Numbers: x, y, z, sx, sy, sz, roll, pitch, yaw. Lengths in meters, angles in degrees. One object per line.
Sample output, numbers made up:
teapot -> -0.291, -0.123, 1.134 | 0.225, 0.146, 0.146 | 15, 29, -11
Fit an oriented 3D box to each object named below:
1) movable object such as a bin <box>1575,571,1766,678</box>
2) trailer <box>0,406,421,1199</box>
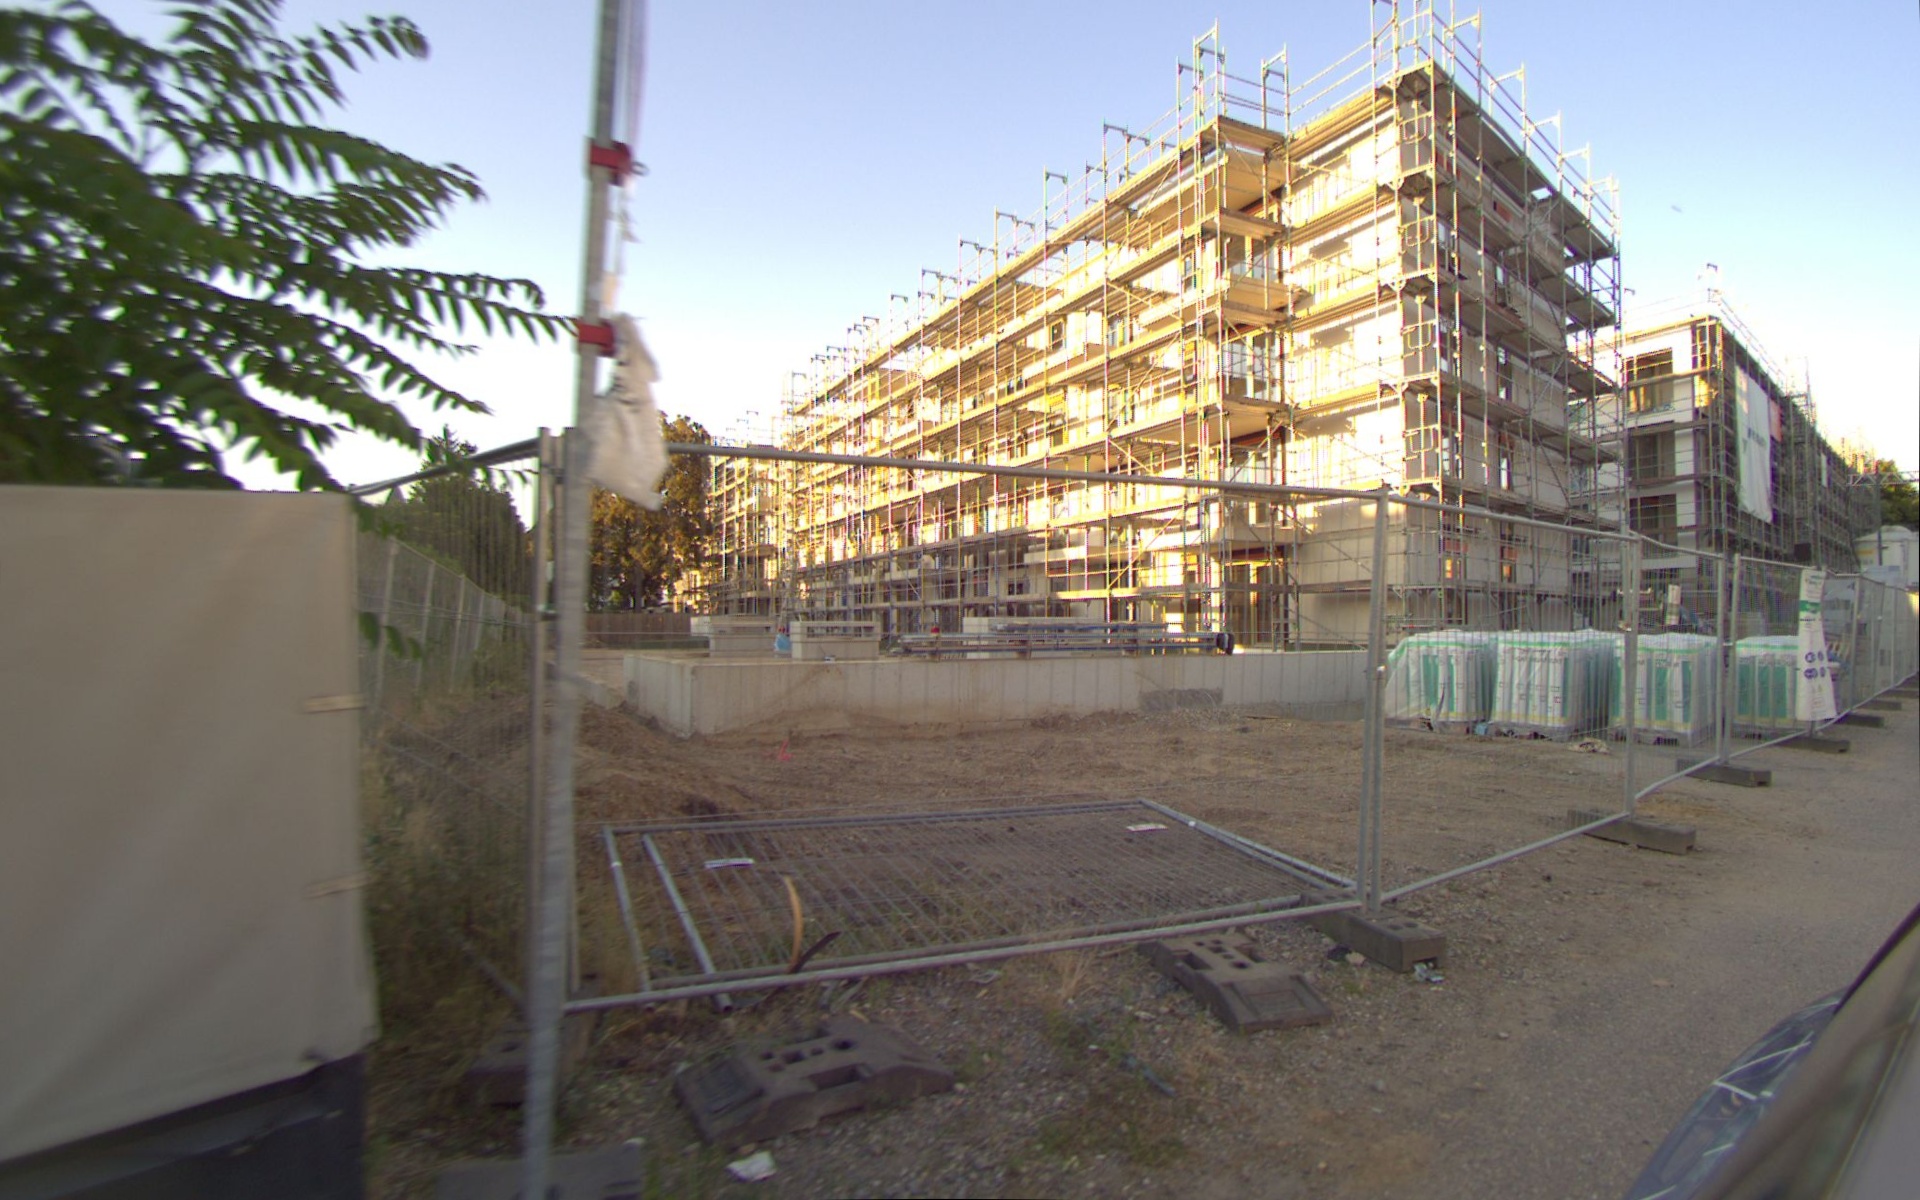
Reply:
movable object such as a bin -> 17.930, 0.544, 25.282 | 8.222, 2.302, 2.068 | 0, -1, -42
trailer -> -2.303, 0.586, 1.172 | 2.754, 1.686, 1.252 | 0, 1, -41
